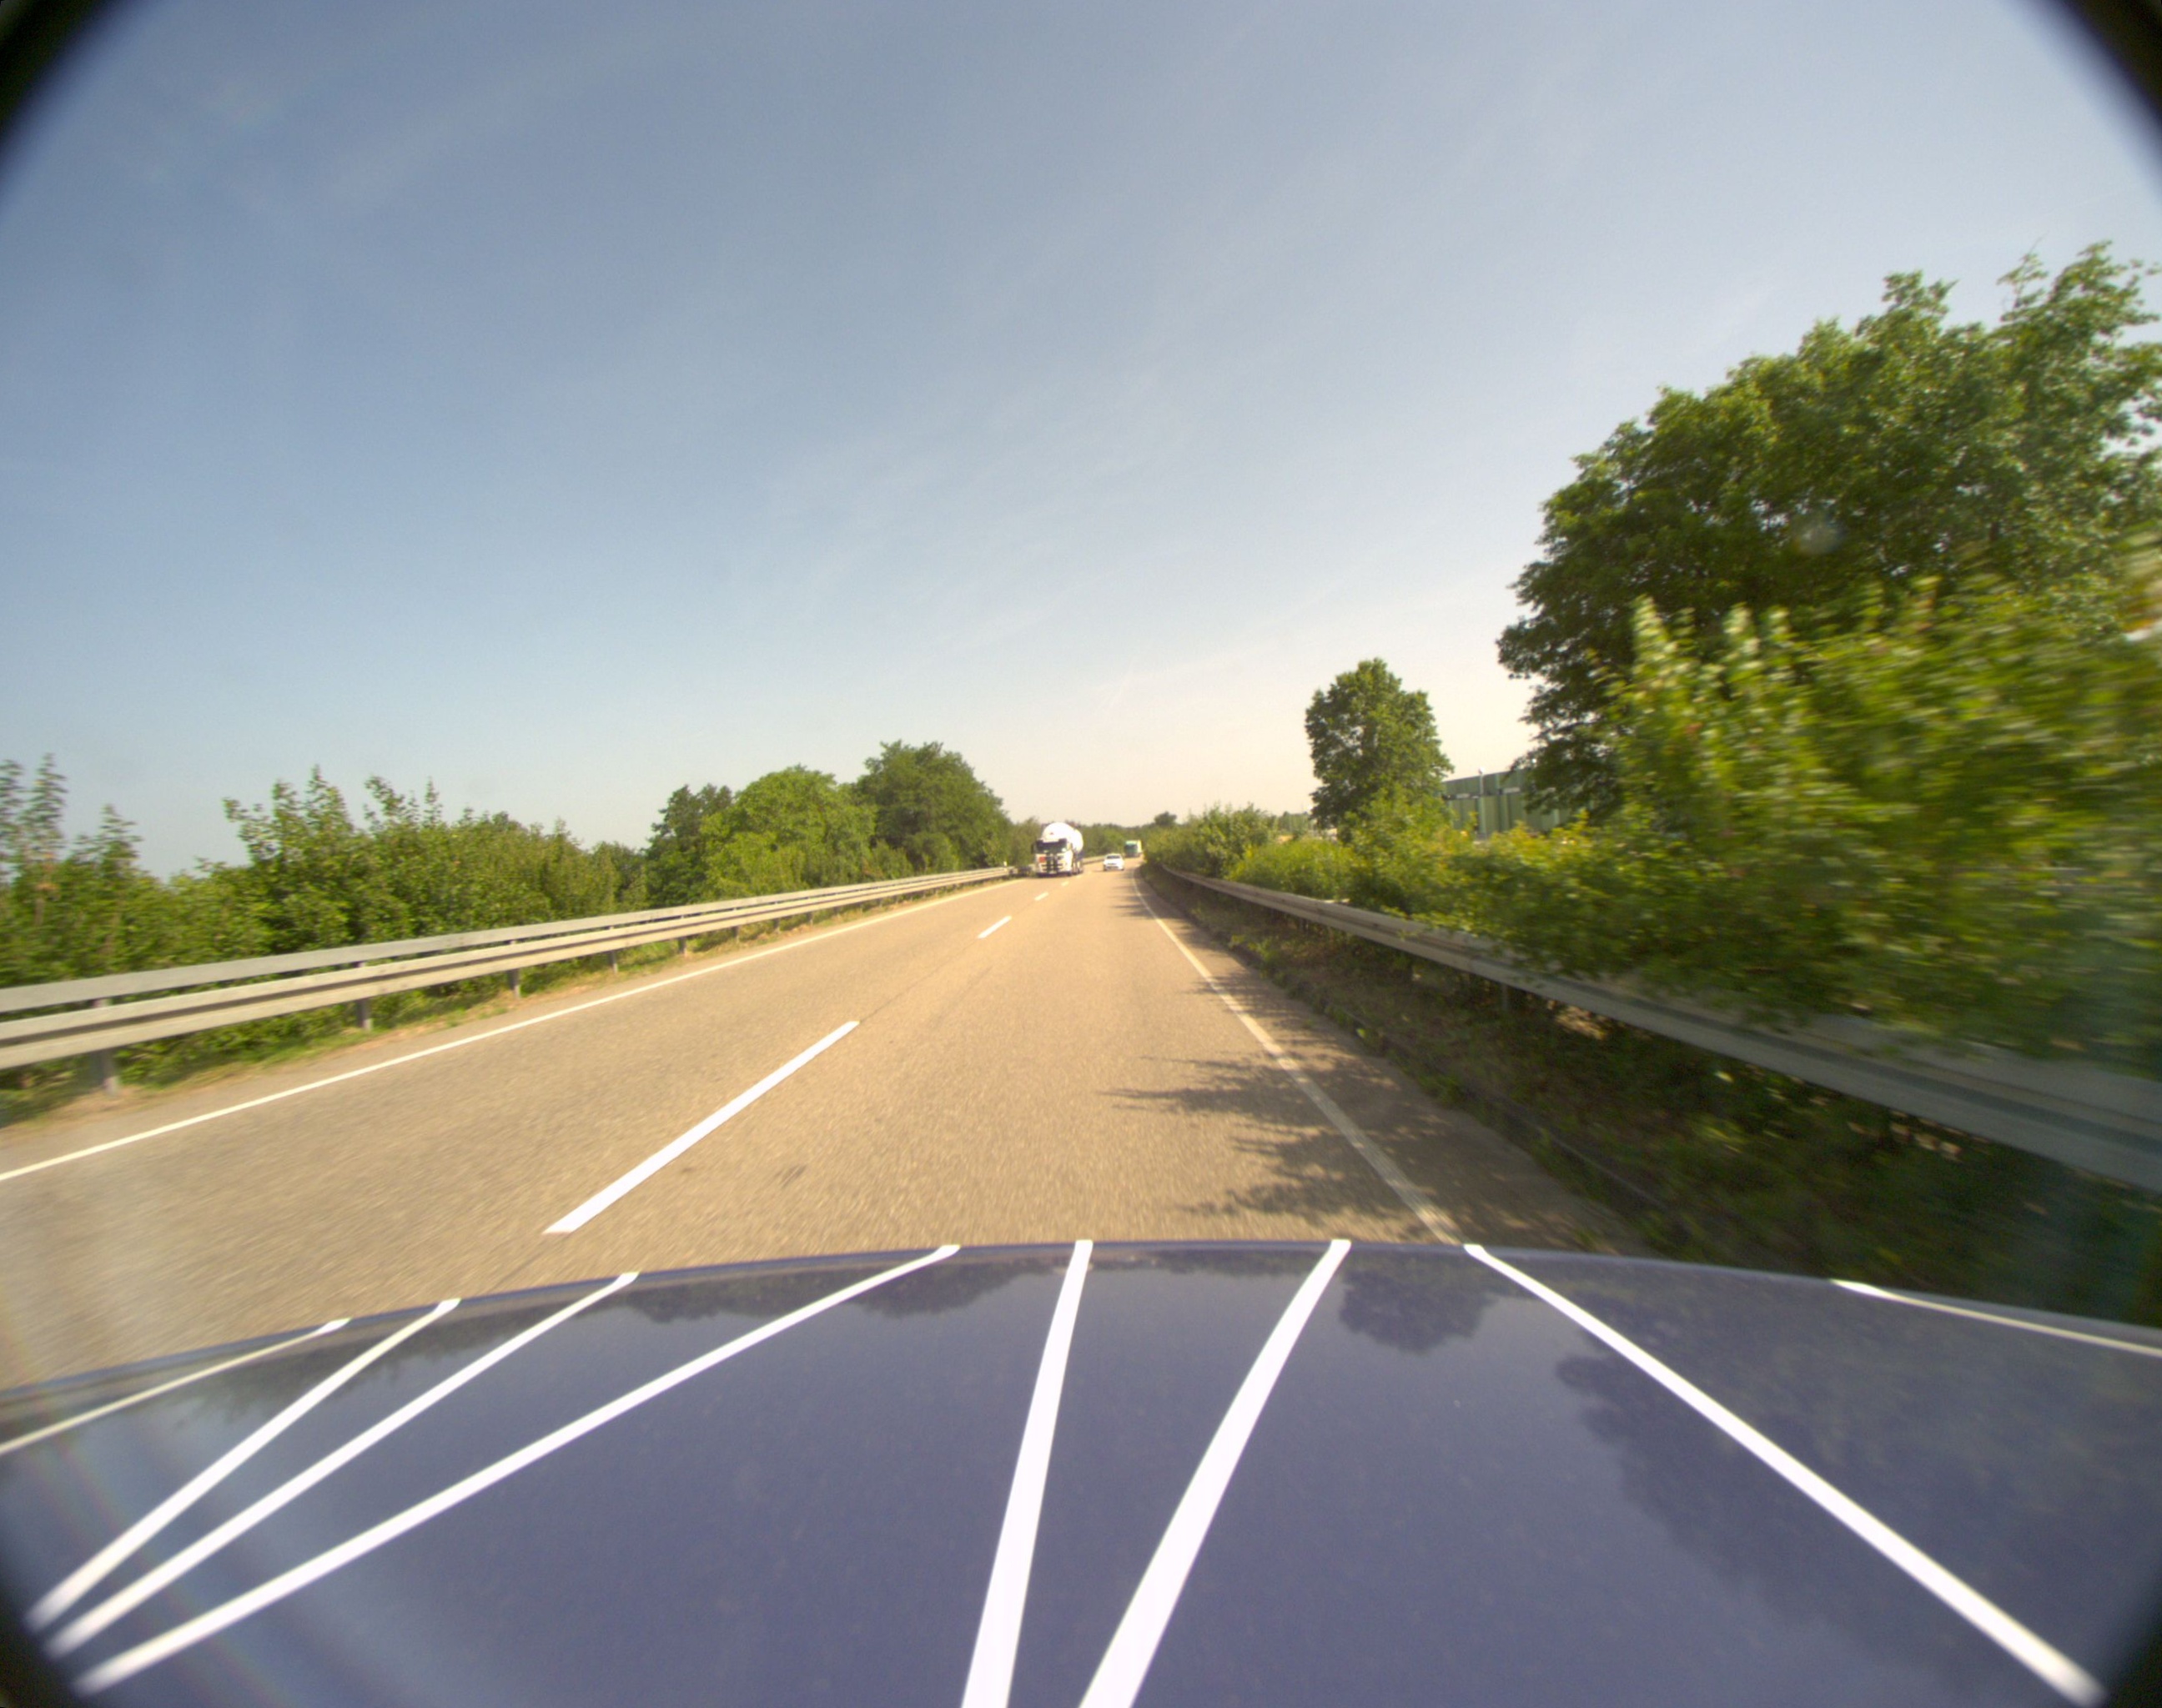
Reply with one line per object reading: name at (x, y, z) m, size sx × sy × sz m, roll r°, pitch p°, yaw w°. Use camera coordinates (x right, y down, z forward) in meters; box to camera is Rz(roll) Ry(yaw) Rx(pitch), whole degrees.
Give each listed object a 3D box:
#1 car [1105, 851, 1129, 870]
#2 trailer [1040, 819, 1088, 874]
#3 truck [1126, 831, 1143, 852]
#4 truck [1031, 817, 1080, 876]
car at (3.187, 0.543, 66.901) m, size 1.788 × 1.427 × 4.001 m, roll -3°, pitch 1°, yaw 6°
trailer at (-1.235, -0.626, 60.299) m, size 2.763 × 3.968 × 8.188 m, roll -2°, pitch 1°, yaw 5°
truck at (11.345, -2.656, 160.786) m, size 2.547 × 4.136 × 8.444 m, roll -2°, pitch 1°, yaw 10°
truck at (-1.726, -0.563, 54.585) m, size 2.778 × 3.939 × 5.628 m, roll -2°, pitch 1°, yaw 5°
